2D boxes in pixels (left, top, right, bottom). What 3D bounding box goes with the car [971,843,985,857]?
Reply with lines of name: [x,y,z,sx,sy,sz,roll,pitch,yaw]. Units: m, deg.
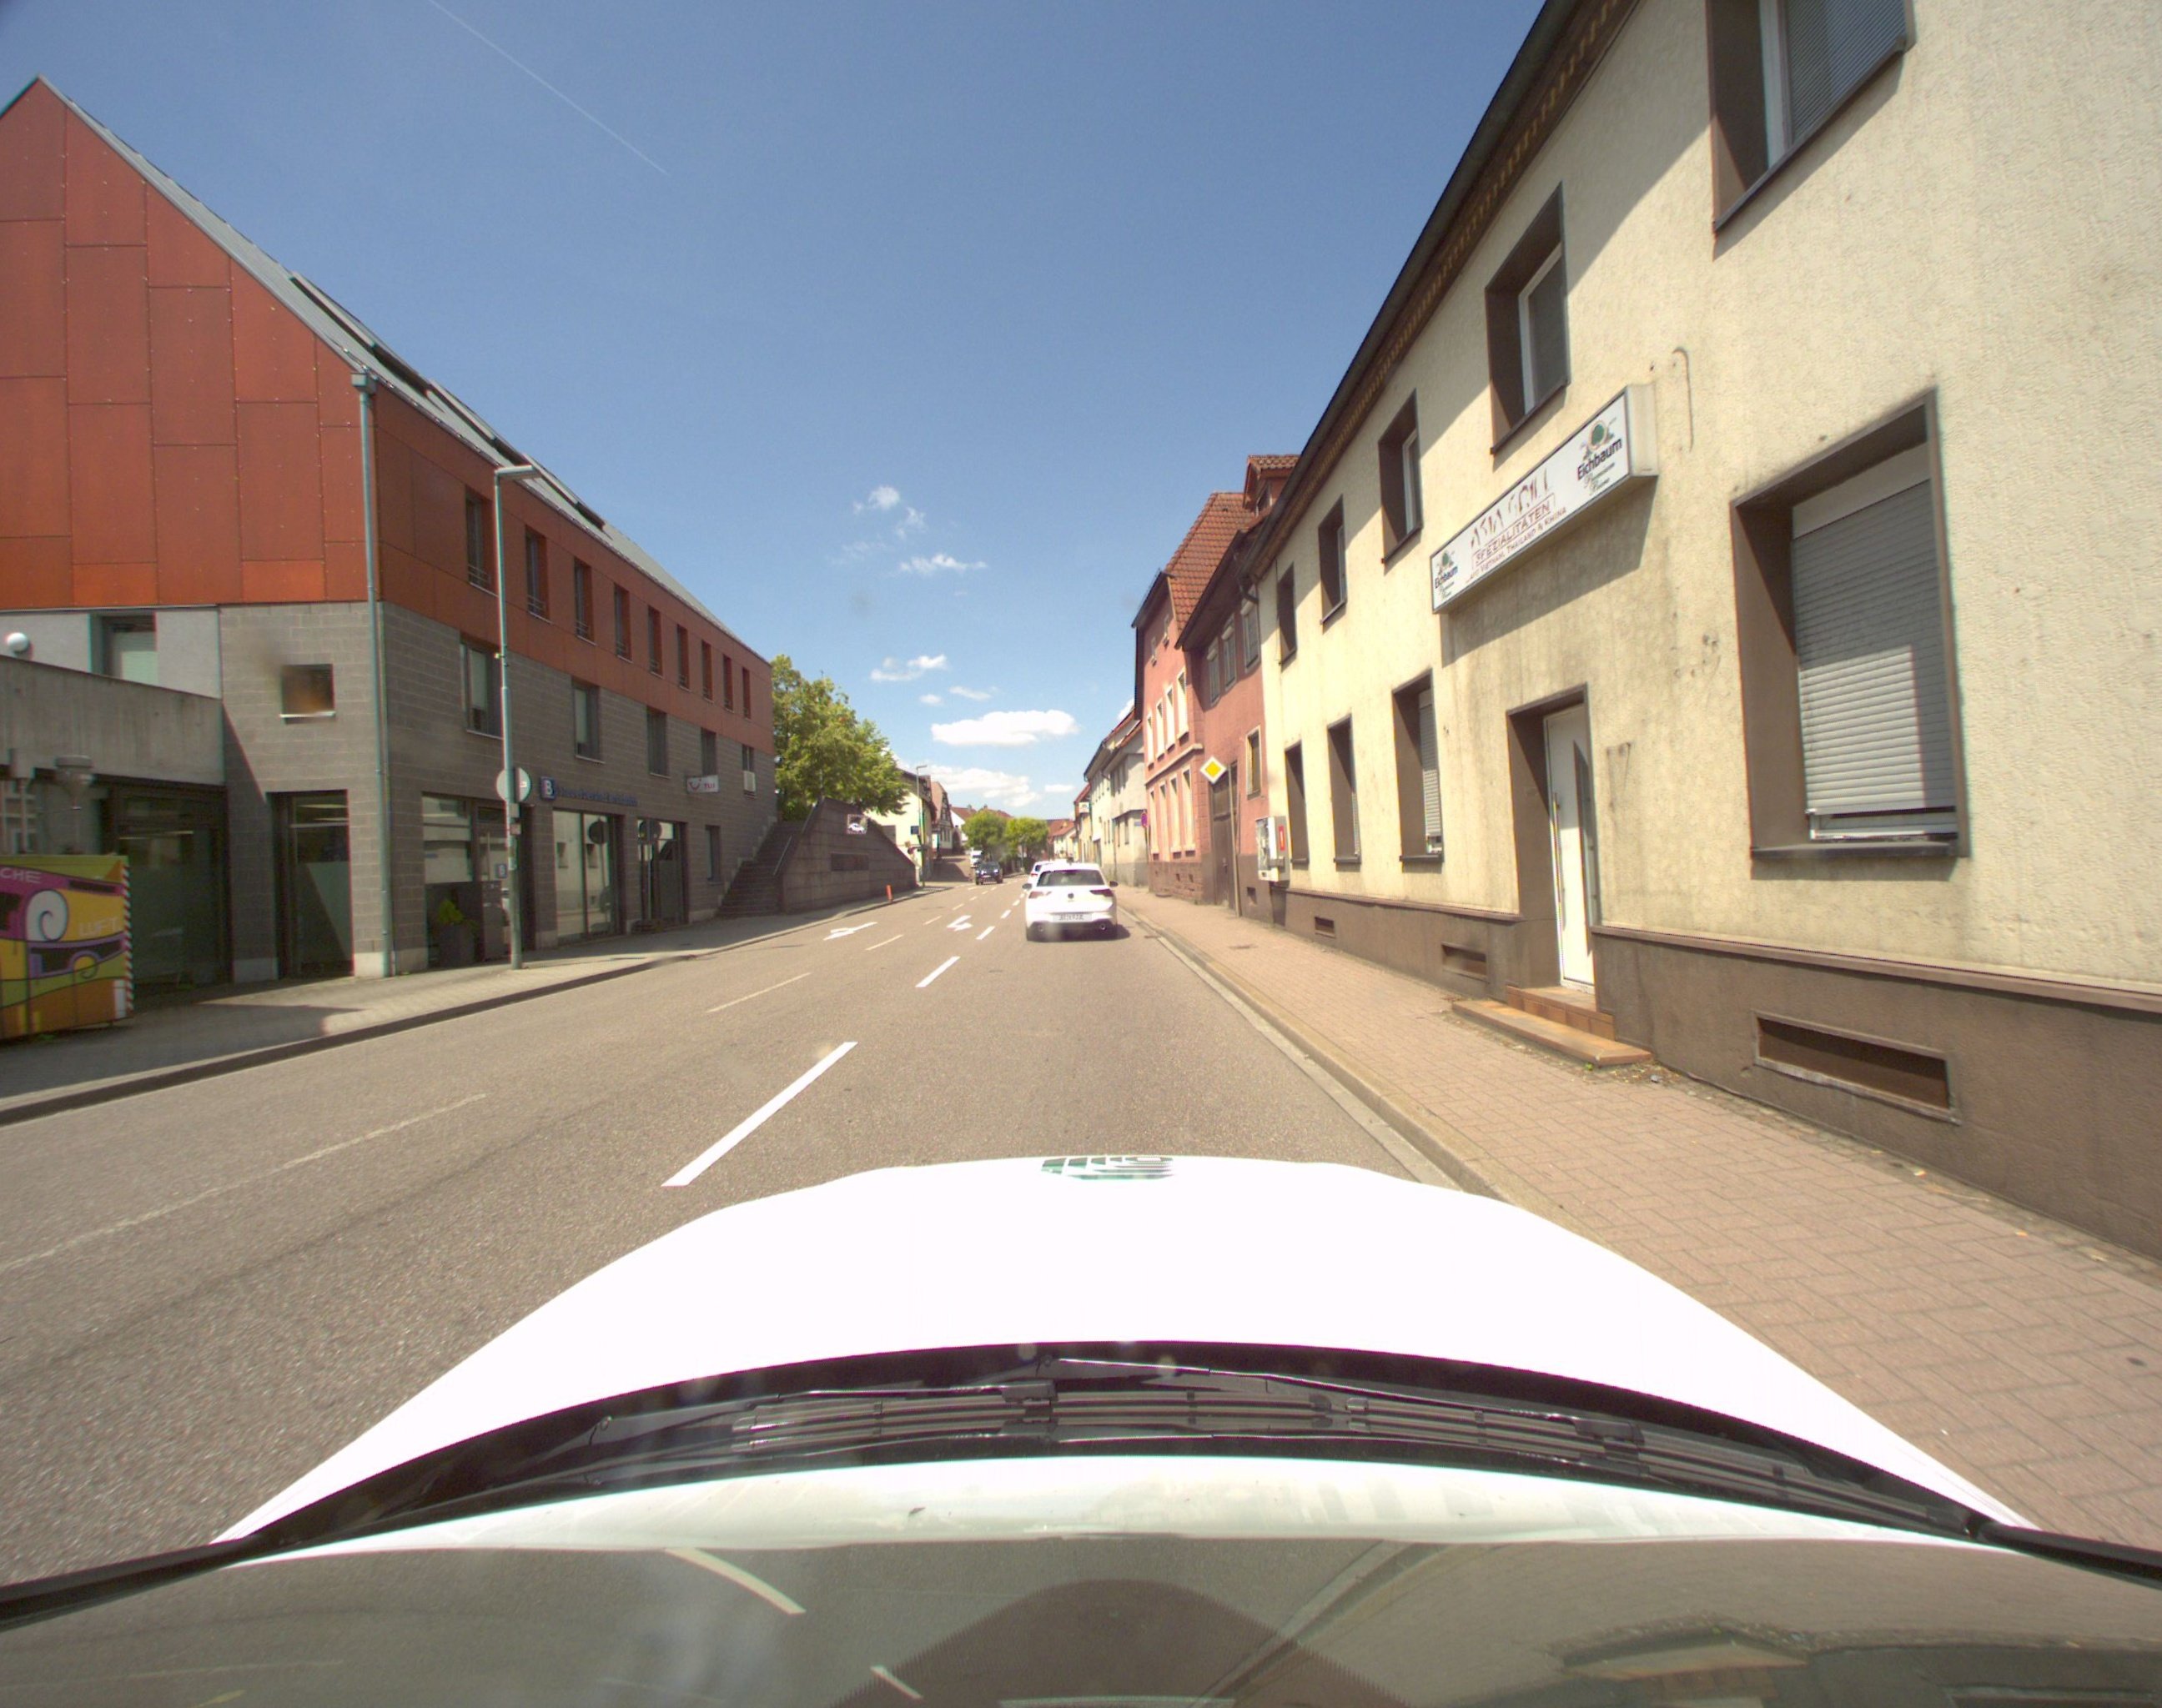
car: [-13.376,-0.546,105.846,1.573,1.361,3.852,-2,5,-3]

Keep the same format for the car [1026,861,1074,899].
car: [-1.321,1.032,33.295,1.804,1.468,3.993,0,-1,-4]

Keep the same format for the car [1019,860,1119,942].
car: [-0.143,0.884,16.745,1.801,1.468,4.001,-1,-1,2]

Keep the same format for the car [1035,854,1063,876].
car: [-2.218,0.749,55.874,1.804,1.468,3.995,0,-1,-3]

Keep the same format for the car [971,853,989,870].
car: [-11.574,0.827,93.406,1.690,1.542,3.852,-2,5,-3]

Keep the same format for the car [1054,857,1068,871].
car: [-2.701,1.363,109.273,1.770,1.765,3.998,-2,-1,-1]

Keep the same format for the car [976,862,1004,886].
car: [-6.578,1.445,59.372,1.665,1.657,4.014,-2,-1,-2]
